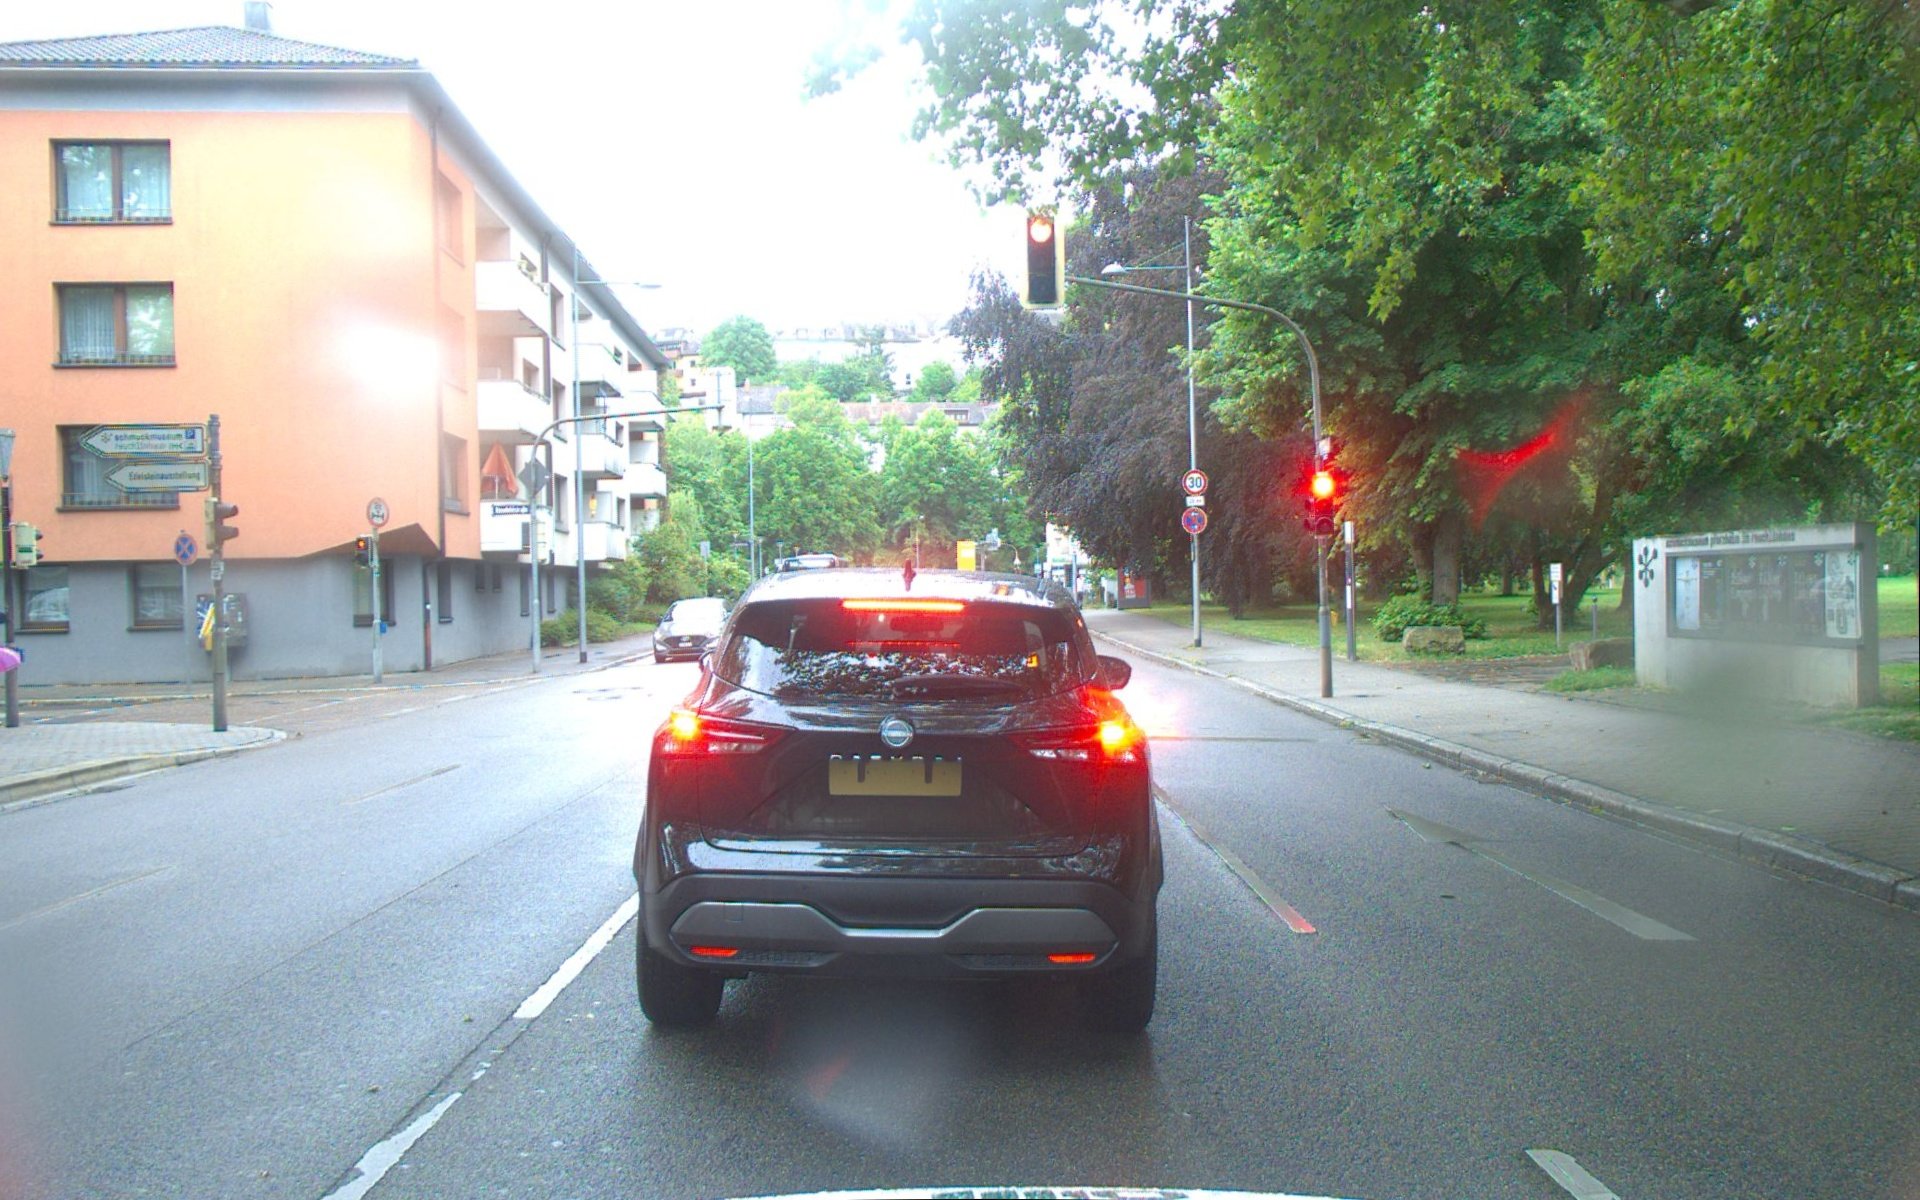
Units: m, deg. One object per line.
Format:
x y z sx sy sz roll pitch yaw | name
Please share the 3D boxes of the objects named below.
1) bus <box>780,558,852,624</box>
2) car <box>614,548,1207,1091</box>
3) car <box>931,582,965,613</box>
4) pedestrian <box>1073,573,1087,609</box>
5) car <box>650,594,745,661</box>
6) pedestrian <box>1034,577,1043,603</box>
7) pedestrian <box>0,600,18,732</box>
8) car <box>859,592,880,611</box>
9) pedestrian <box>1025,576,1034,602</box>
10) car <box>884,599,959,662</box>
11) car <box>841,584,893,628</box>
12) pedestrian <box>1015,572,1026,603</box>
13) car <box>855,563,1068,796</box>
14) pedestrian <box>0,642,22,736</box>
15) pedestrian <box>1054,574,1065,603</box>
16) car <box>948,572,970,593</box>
-7.121 -0.423 83.242 2.710 3.026 11.779 -1 0 -1 | bus
-0.174 0.674 7.005 1.769 1.618 3.999 1 0 -1 | car
-0.563 -0.141 81.408 1.591 1.439 3.454 -2 0 0 | car
6.234 -0.477 86.050 0.606 1.810 0.778 -2 0 -1 | pedestrian
-6.416 0.639 40.827 1.772 1.441 4.029 -3 1 -2 | car
4.998 -0.636 105.444 0.504 1.684 0.550 1 -1 -1 | pedestrian
-13.624 0.890 22.669 0.987 1.772 1.191 1 0 -42 | pedestrian
-7.691 0.124 140.528 1.643 1.495 4.215 -3 1 -2 | car
4.483 -0.700 106.853 0.533 1.680 0.490 1 -1 0 | pedestrian
-0.971 0.726 41.063 1.772 1.442 4.029 0 0 -2 | car
-3.260 0.207 58.359 1.591 1.439 3.454 -2 0 0 | car
4.335 -0.898 117.640 0.752 2.222 0.711 1 -1 2 | pedestrian
0.039 0.602 14.682 1.588 1.738 3.771 -2 0 1 | car
-12.923 1.175 21.932 0.681 1.195 0.814 1 0 -43 | pedestrian
6.300 -0.708 105.185 0.606 1.810 0.550 -2 0 -1 | pedestrian
-0.081 -1.440 136.447 1.714 1.662 3.634 -2 1 0 | car
